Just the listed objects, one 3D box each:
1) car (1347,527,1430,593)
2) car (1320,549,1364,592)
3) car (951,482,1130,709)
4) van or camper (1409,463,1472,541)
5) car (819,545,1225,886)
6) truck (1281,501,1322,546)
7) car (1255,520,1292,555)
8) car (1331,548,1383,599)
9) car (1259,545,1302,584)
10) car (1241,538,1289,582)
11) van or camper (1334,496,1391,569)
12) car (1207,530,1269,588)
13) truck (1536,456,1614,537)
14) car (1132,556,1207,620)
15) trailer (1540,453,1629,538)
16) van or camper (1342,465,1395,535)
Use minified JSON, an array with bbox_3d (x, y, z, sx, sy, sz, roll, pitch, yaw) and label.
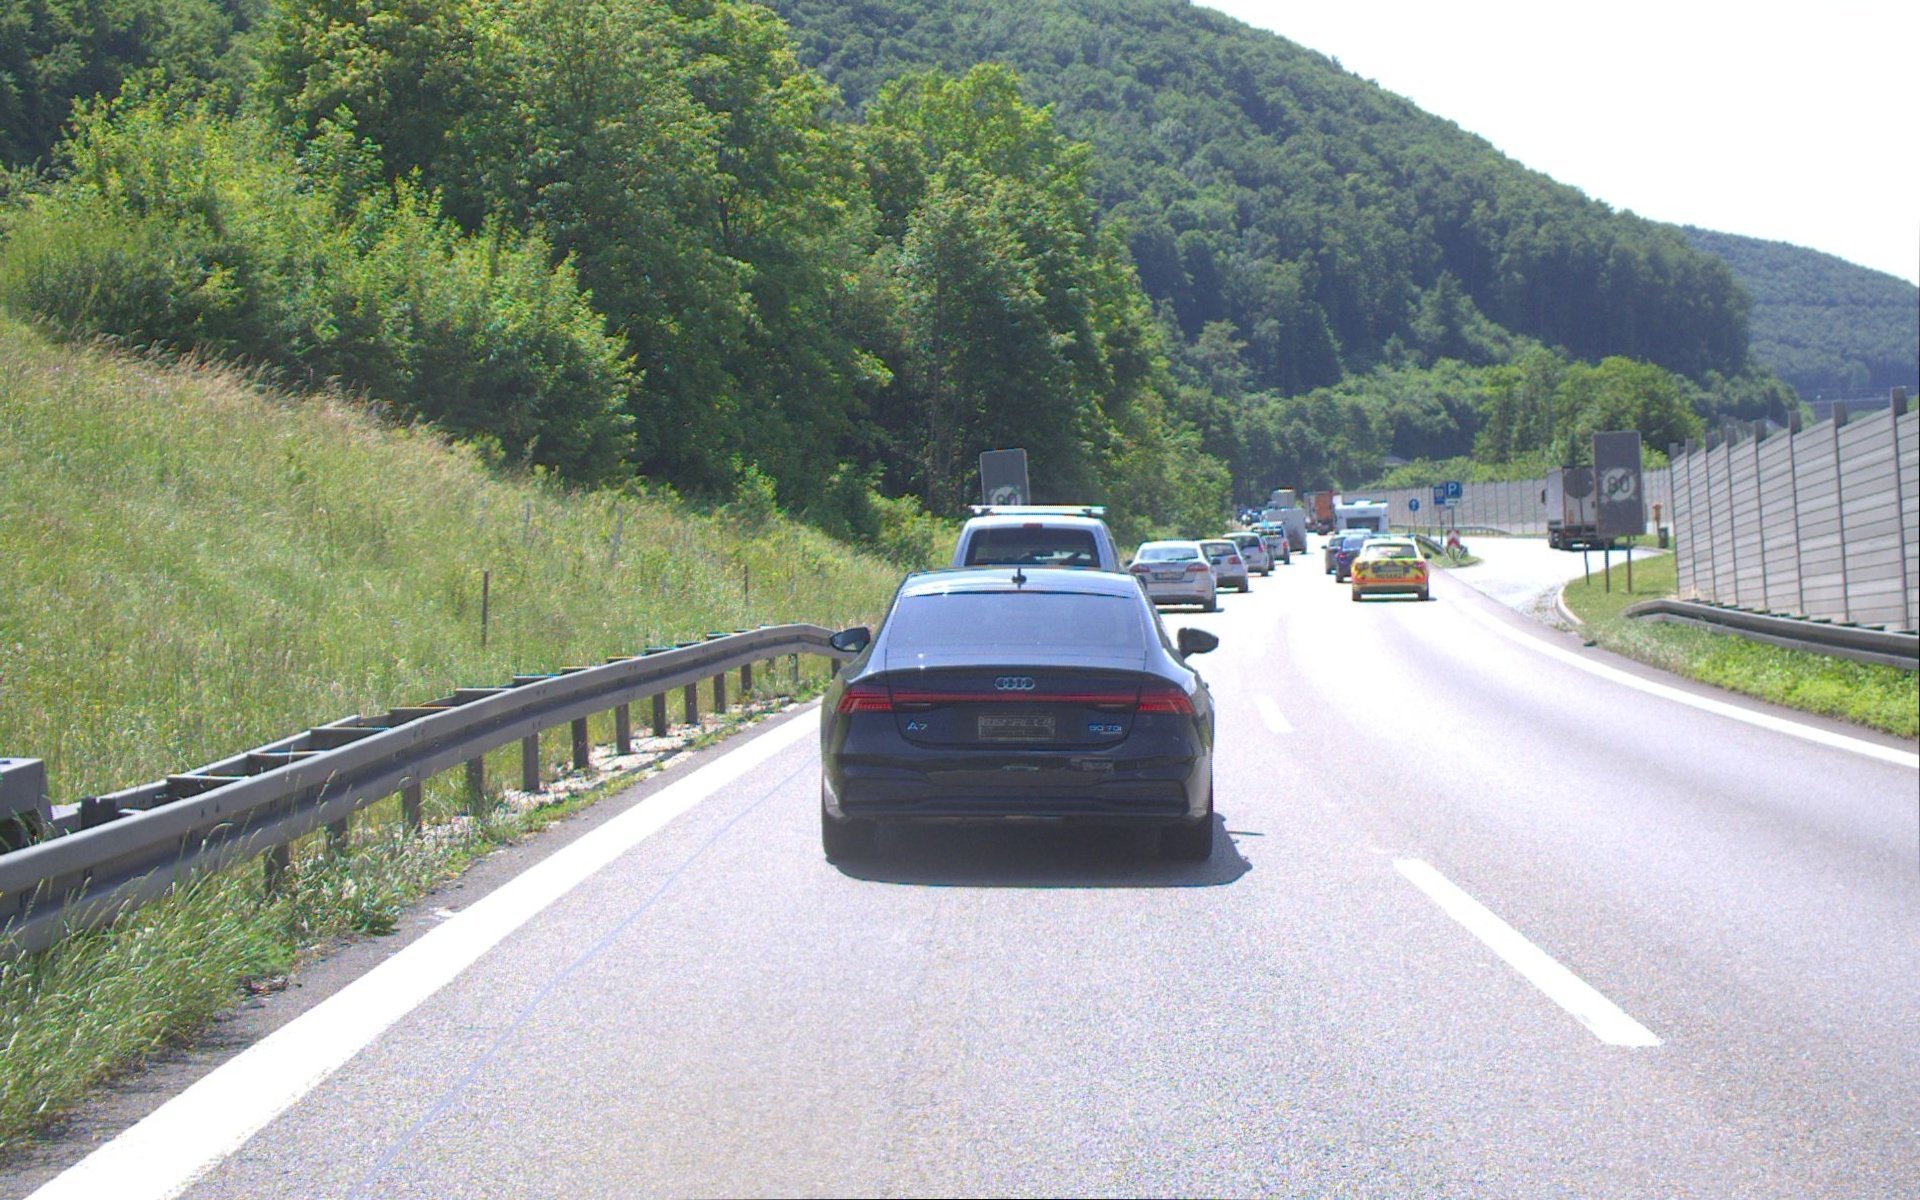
[{"bbox_3d":[10.113,-0.957,81.278,1.879,1.493,3.999,-1,1,7],"label":"car"},{"bbox_3d":[13.977,-1.075,125.751,1.530,1.520,3.596,1,1,7],"label":"car"},{"bbox_3d":[0.753,-0.068,31.967,1.521,1.961,3.514,1,1,2],"label":"car"},{"bbox_3d":[24.436,-4.972,175.049,2.795,3.828,6.166,1,0,5],"label":"van or camper"},{"bbox_3d":[0.254,0.496,17.255,1.812,1.509,3.514,1,1,-1],"label":"car"},{"bbox_3d":[20.256,-4.516,203.842,2.065,2.596,5.612,2,1,8],"label":"truck"},{"bbox_3d":[14.751,-2.926,161.461,1.521,1.547,3.513,2,1,8],"label":"car"},{"bbox_3d":[12.109,-0.811,104.773,1.530,1.520,3.596,1,1,7],"label":"car"},{"bbox_3d":[13.225,-1.480,141.788,1.521,1.547,3.513,2,1,9],"label":"car"},{"bbox_3d":[11.147,-1.460,125.498,1.521,1.547,3.513,2,1,8],"label":"car"},{"bbox_3d":[17.949,-2.982,153.157,2.430,3.144,5.202,1,0,7],"label":"van or camper"},{"bbox_3d":[7.683,-1.131,94.861,1.521,1.547,3.513,2,1,7],"label":"car"},{"bbox_3d":[30.471,-5.114,170.543,3.412,3.887,5.386,-1,1,6],"label":"truck"},{"bbox_3d":[4.427,-0.273,72.297,1.521,1.290,3.514,0,1,4],"label":"car"},{"bbox_3d":[29.948,-4.999,165.177,3.412,3.887,11.149,-1,1,6],"label":"trailer"},{"bbox_3d":[23.588,-5.734,198.643,2.795,3.894,6.166,1,0,5],"label":"van or camper"}]
